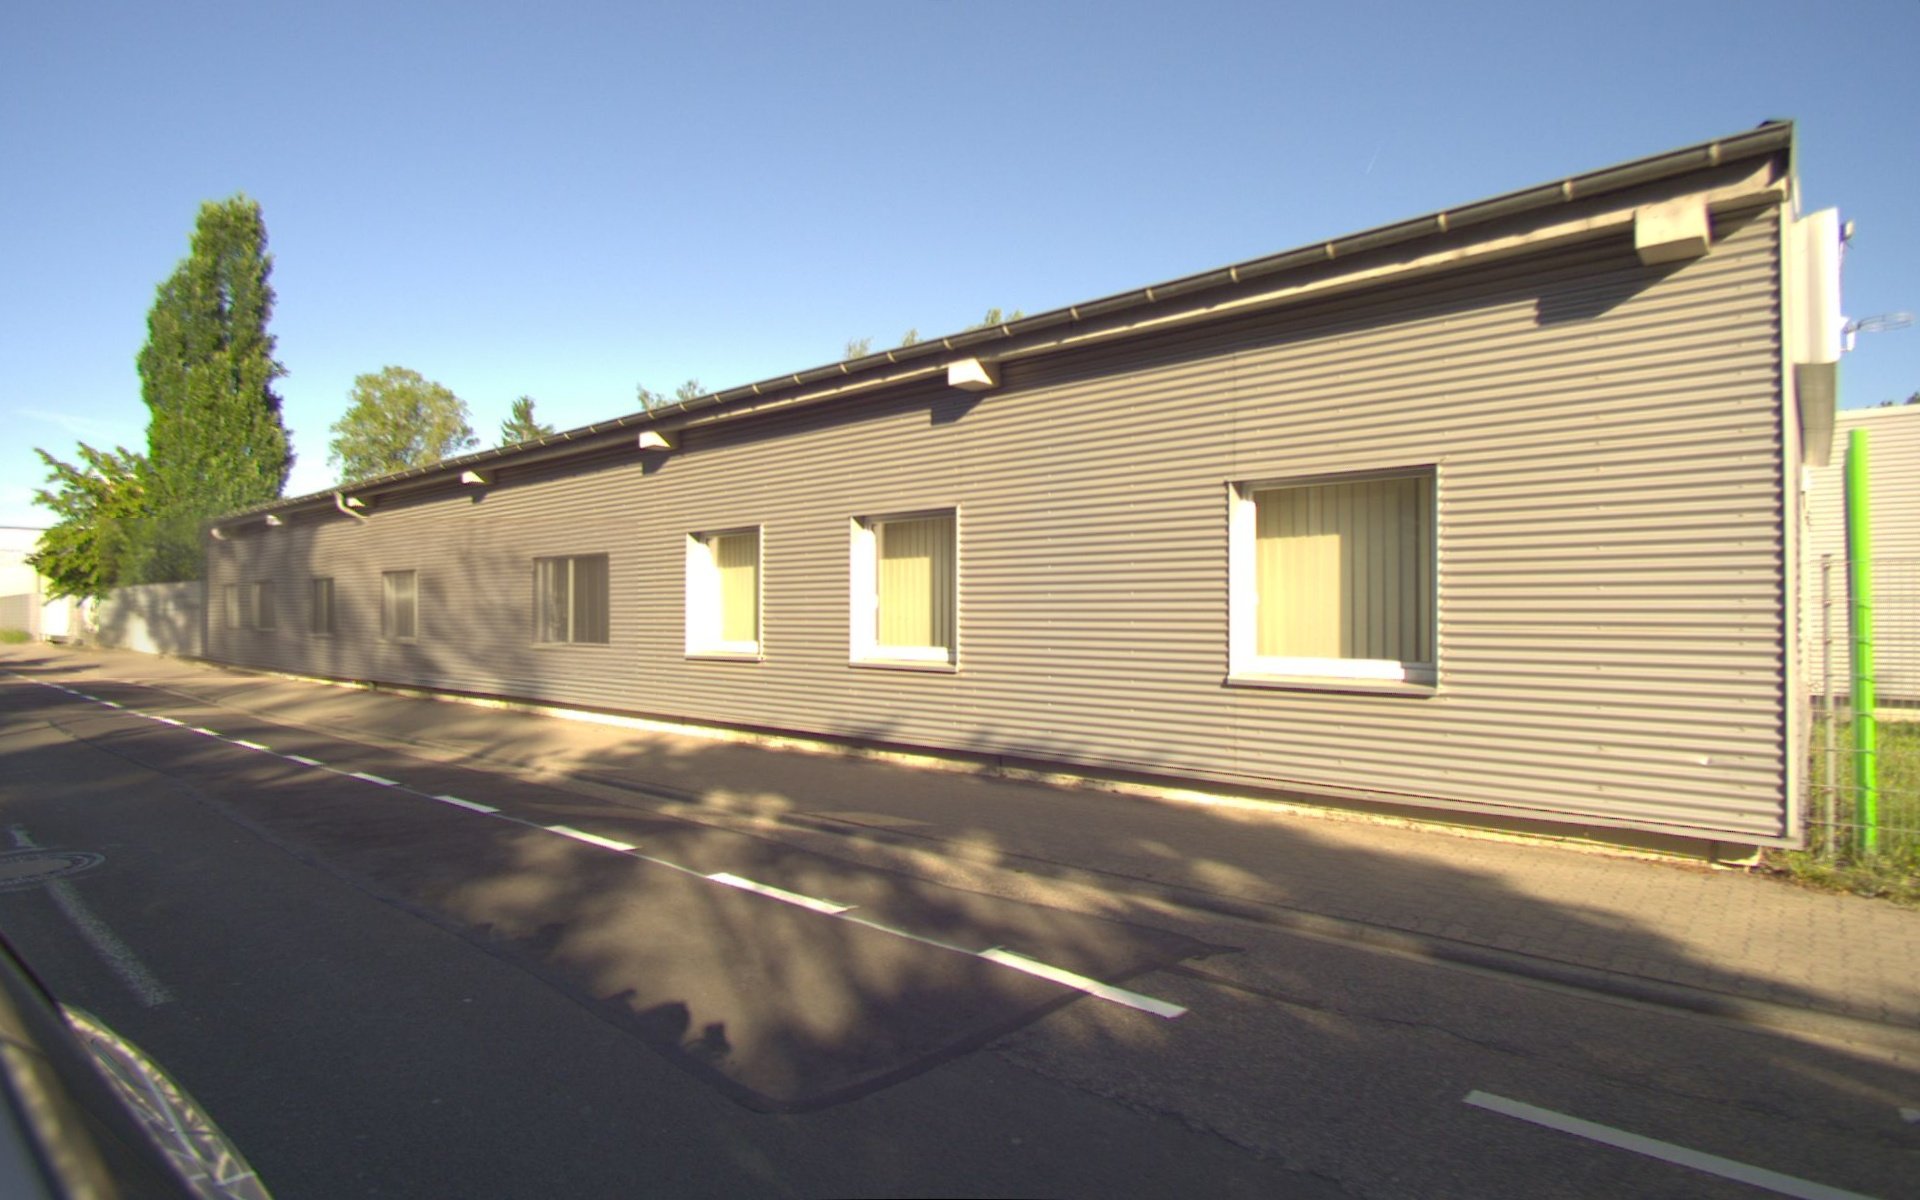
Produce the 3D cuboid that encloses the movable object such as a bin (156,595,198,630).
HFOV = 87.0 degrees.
[{"bbox_3d":[-48.910,0.784,63.207,2.476,2.108,1.560,-2,-2,39],"label":"movable object such as a bin"}]
